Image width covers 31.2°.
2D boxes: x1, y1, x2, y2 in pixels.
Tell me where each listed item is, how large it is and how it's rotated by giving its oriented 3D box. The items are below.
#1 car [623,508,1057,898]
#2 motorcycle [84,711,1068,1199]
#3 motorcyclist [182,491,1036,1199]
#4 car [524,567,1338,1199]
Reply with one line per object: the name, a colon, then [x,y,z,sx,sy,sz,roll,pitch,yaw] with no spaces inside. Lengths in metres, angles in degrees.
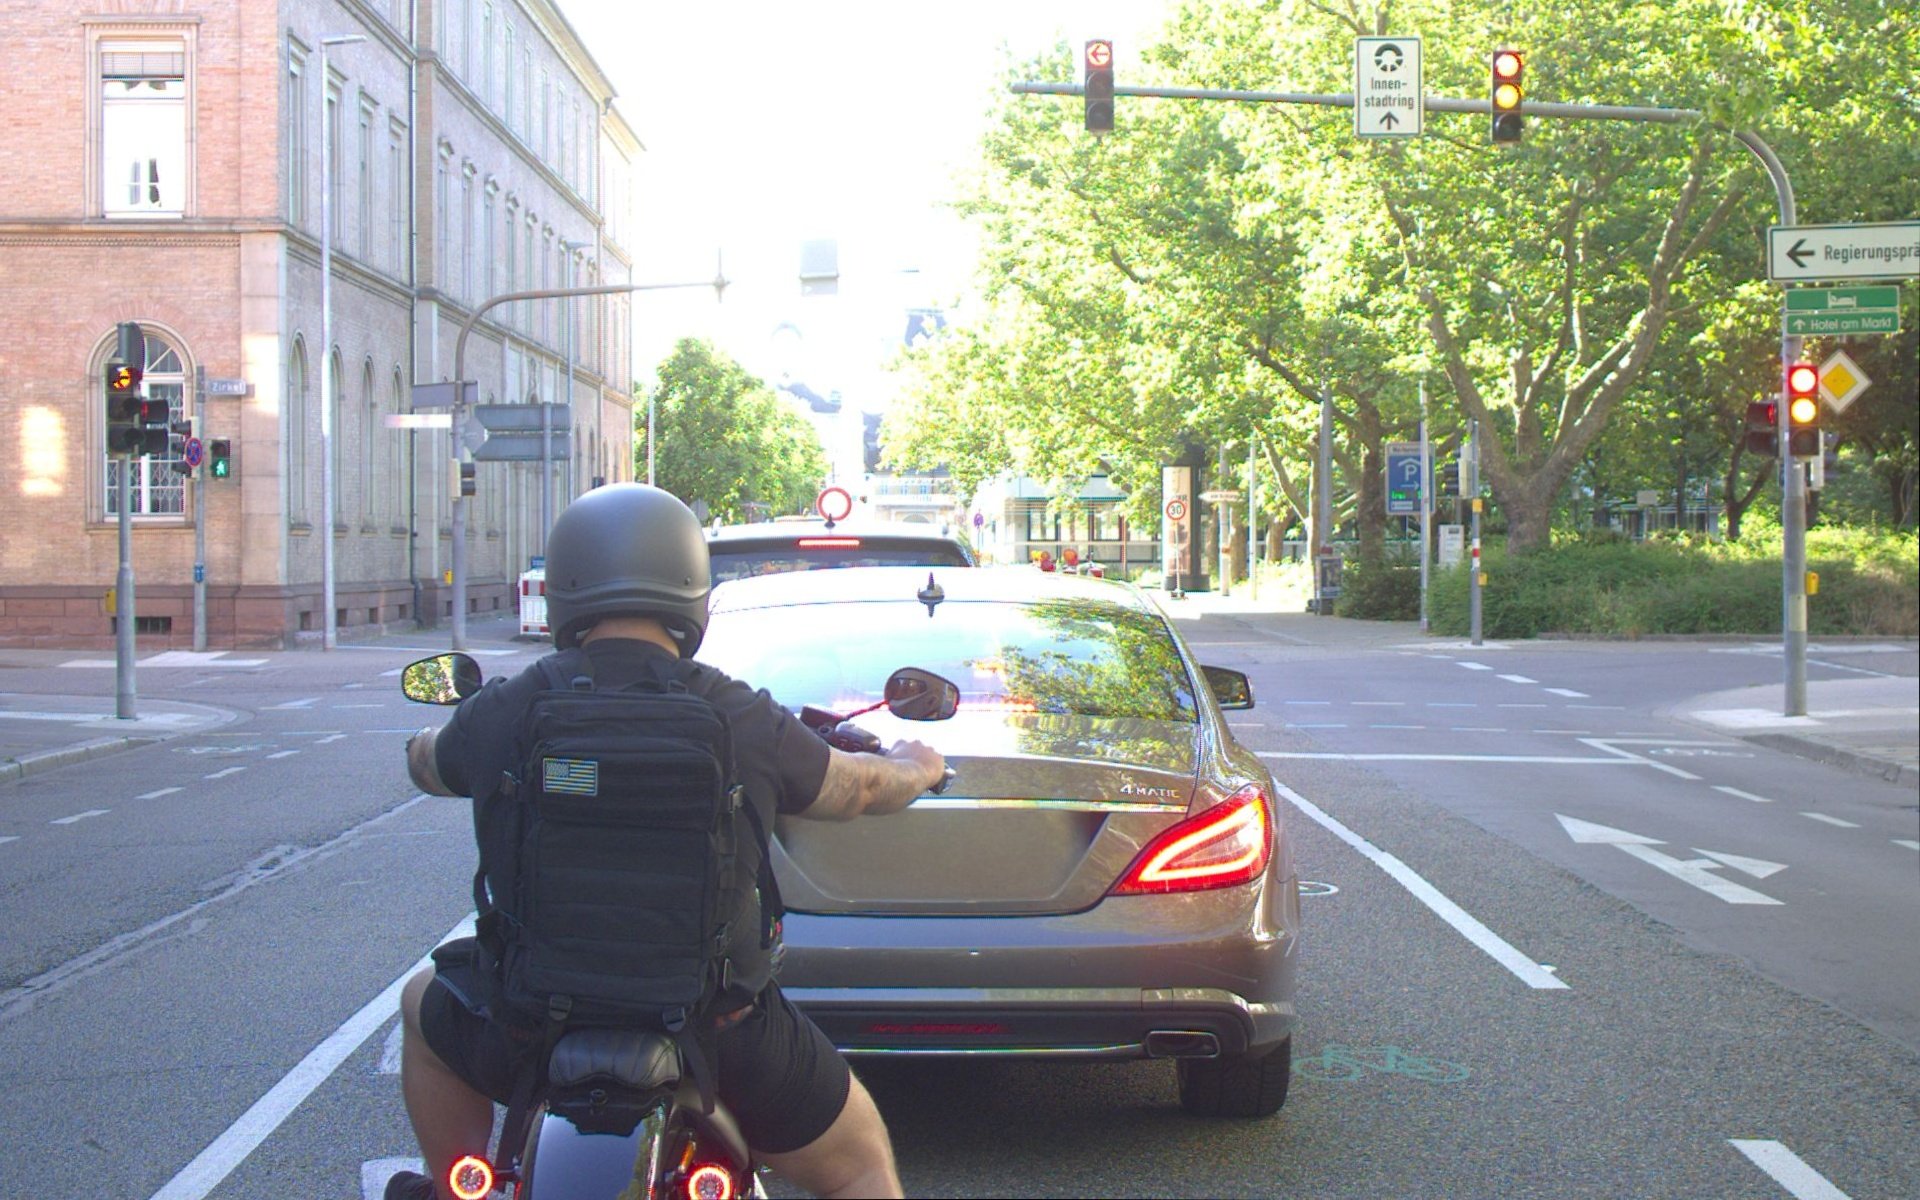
car: [-0.545,0.430,16.951,1.863,1.672,4.000,1,1,-1]
motorcycle: [-0.470,0.835,5.509,1.118,1.203,2.212,1,1,6]
motorcyclist: [-0.485,0.632,5.285,1.099,1.560,1.071,1,0,6]
car: [-0.087,0.637,9.673,1.822,1.432,3.806,1,1,-1]
